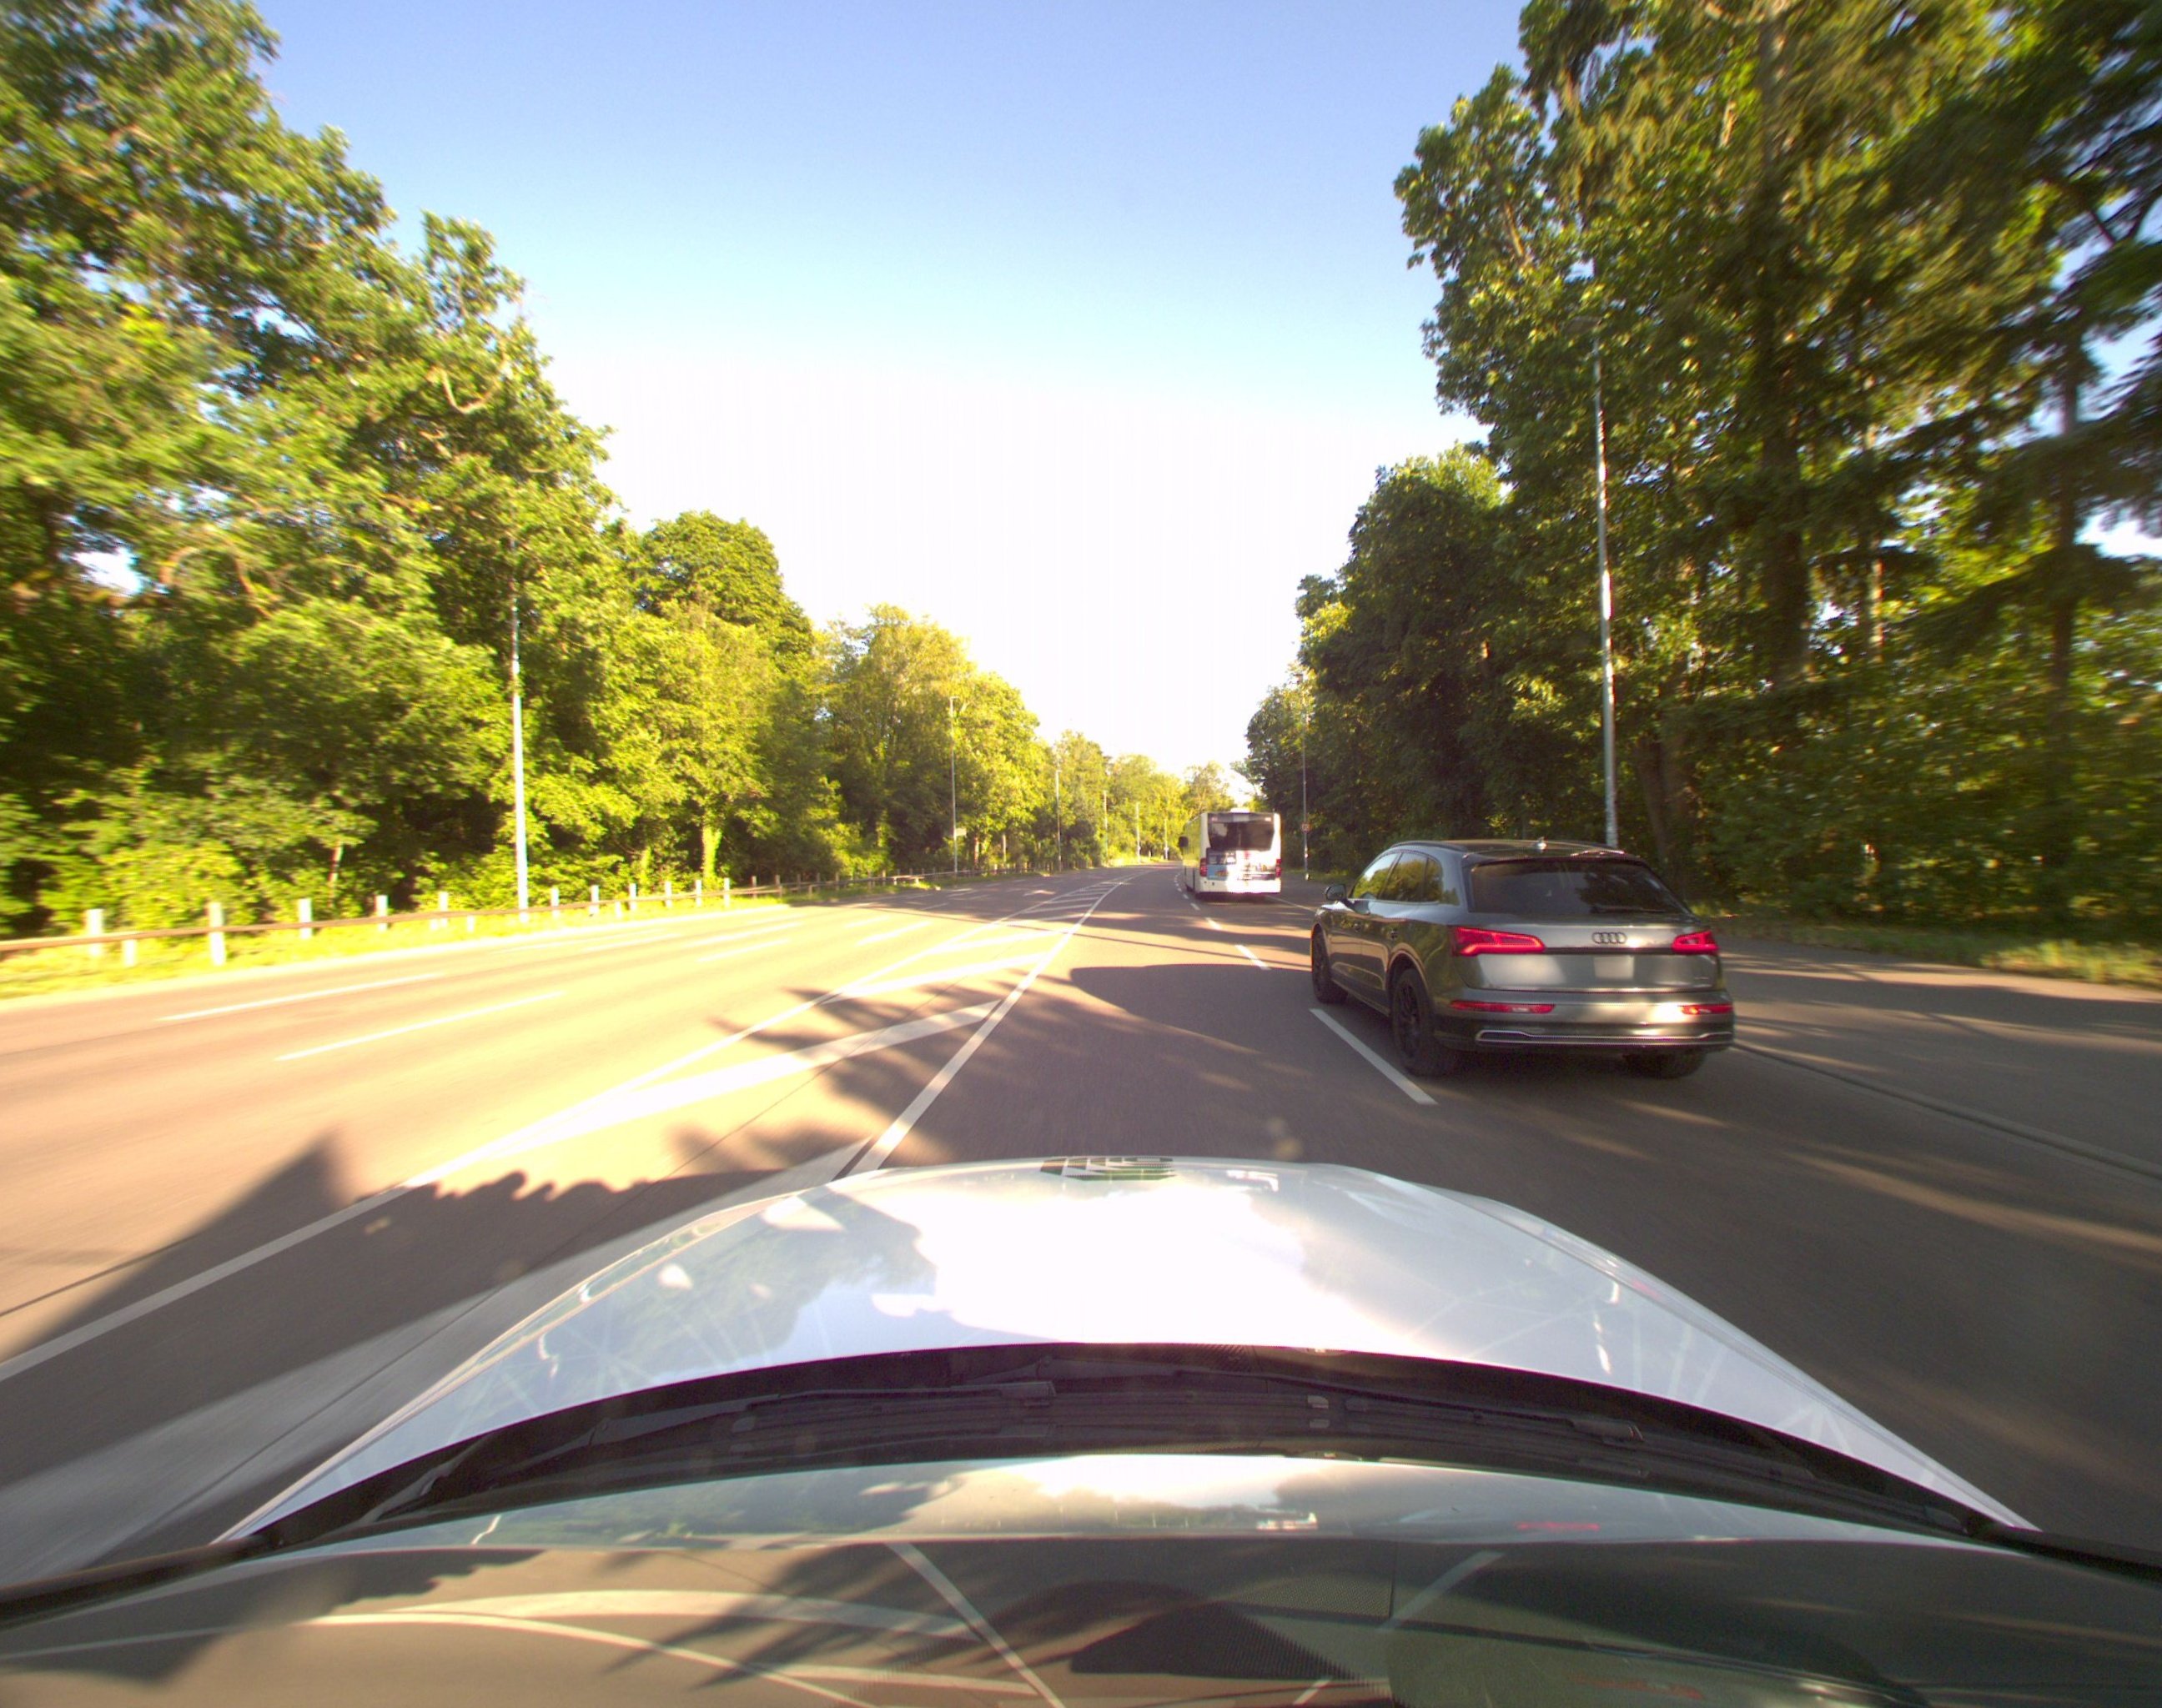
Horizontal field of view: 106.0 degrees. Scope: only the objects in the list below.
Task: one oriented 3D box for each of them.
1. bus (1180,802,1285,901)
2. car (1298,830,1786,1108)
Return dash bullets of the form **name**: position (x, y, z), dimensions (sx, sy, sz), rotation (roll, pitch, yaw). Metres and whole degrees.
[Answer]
- **bus**: position (5.390, -0.068, 31.058), dimensions (2.677, 3.042, 12.056), rotation (0, 0, 5)
- **car**: position (3.280, 0.659, 7.025), dimensions (1.885, 1.605, 4.549), rotation (0, 0, 4)
